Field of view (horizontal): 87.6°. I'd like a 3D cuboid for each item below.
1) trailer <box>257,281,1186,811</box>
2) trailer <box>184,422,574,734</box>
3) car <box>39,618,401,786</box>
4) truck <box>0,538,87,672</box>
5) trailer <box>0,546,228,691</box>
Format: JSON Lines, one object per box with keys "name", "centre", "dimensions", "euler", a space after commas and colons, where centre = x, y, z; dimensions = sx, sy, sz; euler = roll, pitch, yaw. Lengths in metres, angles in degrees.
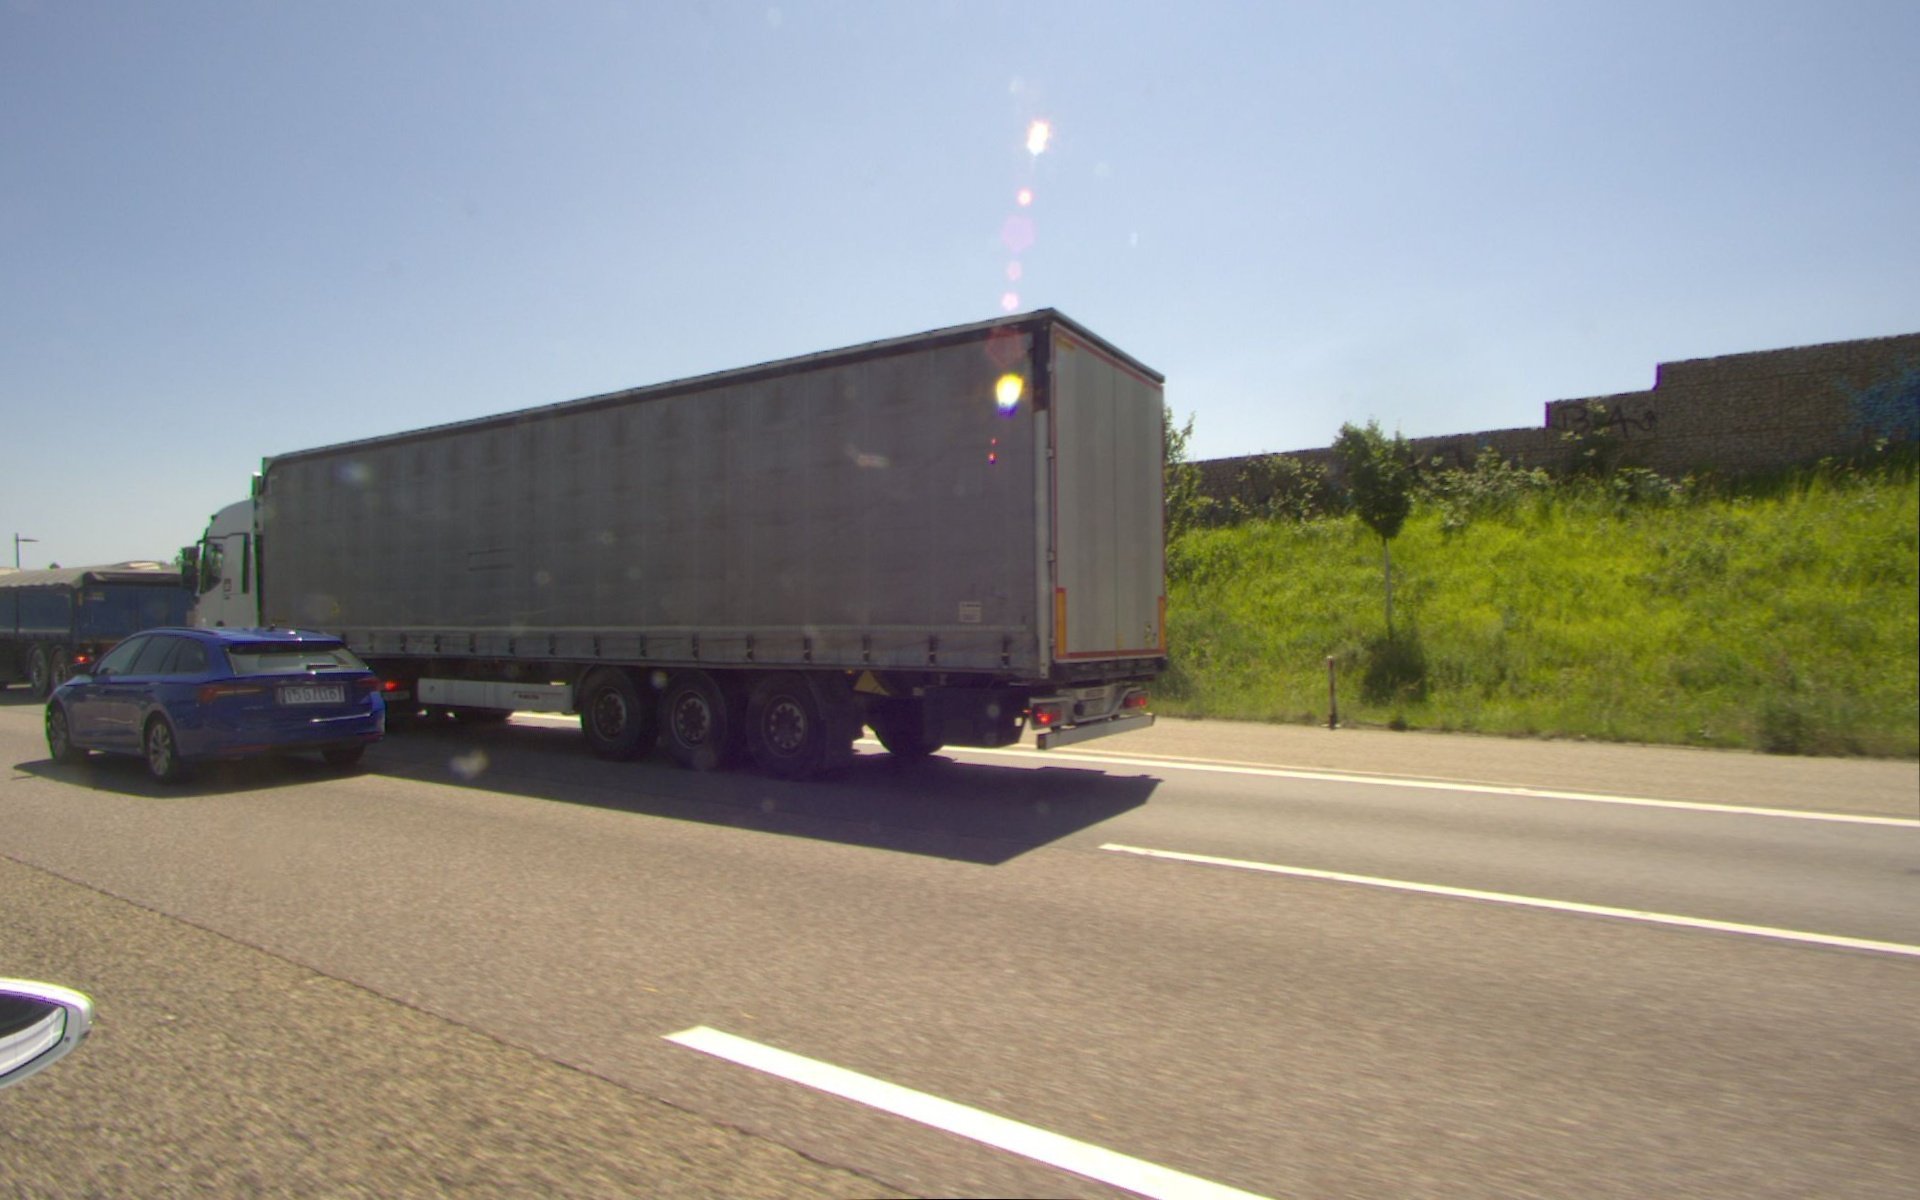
{"name": "trailer", "centre": [-4.156, -0.317, 12.700], "dimensions": [13.557, 4.102, 2.956], "euler": [-1, -1, 33]}
{"name": "trailer", "centre": [-9.453, -0.248, 16.125], "dimensions": [6.319, 4.097, 2.918], "euler": [0, 0, 33]}
{"name": "car", "centre": [-7.952, 0.963, 10.648], "dimensions": [4.366, 1.459, 1.703], "euler": [-2, -2, 33]}
{"name": "truck", "centre": [-26.919, 0.122, 27.384], "dimensions": [7.030, 3.355, 2.739], "euler": [0, -1, 33]}
{"name": "trailer", "centre": [-20.657, 0.389, 23.355], "dimensions": [8.985, 2.873, 2.739], "euler": [0, -1, 33]}
